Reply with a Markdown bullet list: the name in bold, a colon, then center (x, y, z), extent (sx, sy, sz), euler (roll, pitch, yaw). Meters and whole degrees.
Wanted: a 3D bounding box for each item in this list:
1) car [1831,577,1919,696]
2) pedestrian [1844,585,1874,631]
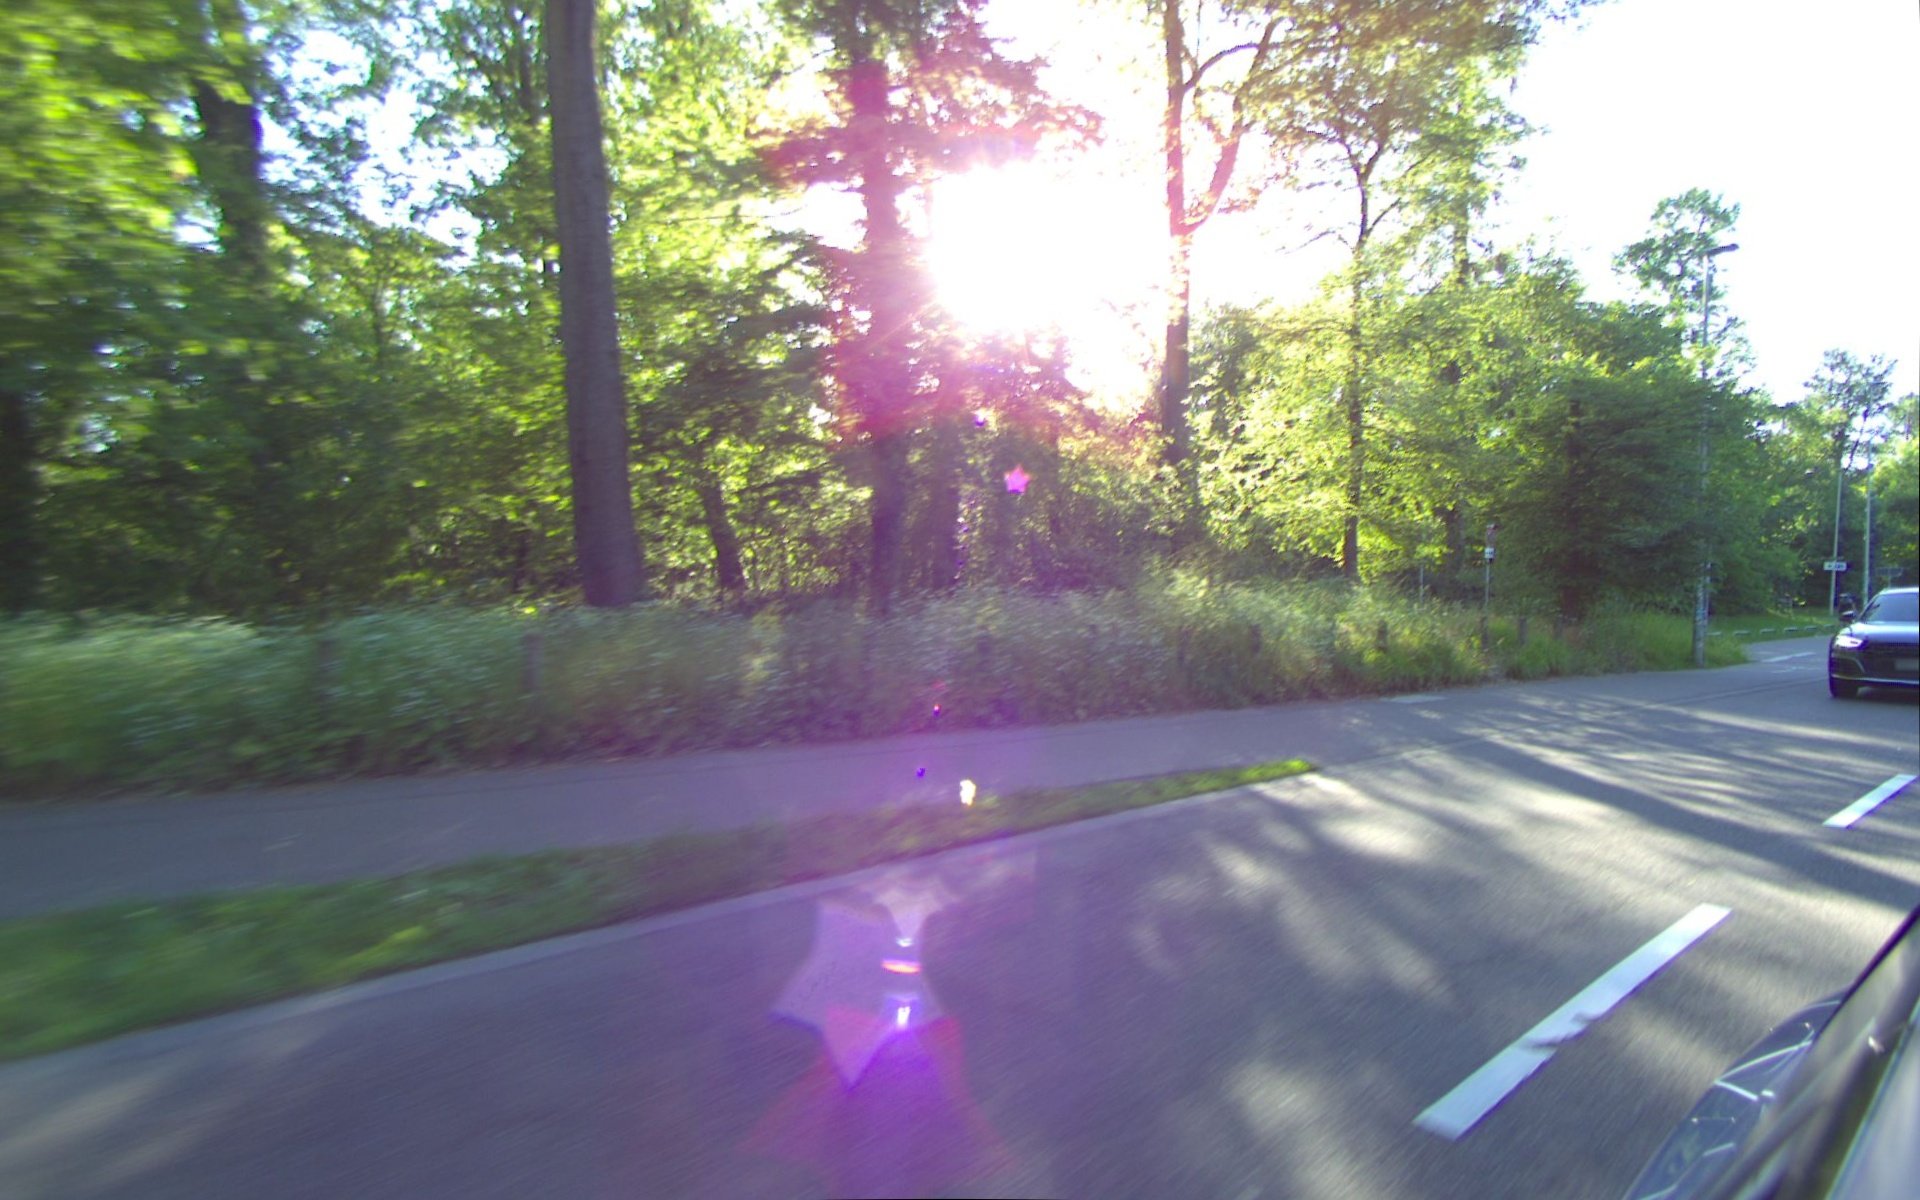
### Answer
- **car**: center (14.685, 0.477, 15.123), extent (3.928, 1.638, 1.861), euler (-1, 2, -39)
- **pedestrian**: center (30.650, 0.255, 34.504), extent (0.747, 1.538, 0.641), euler (-1, -1, -40)
